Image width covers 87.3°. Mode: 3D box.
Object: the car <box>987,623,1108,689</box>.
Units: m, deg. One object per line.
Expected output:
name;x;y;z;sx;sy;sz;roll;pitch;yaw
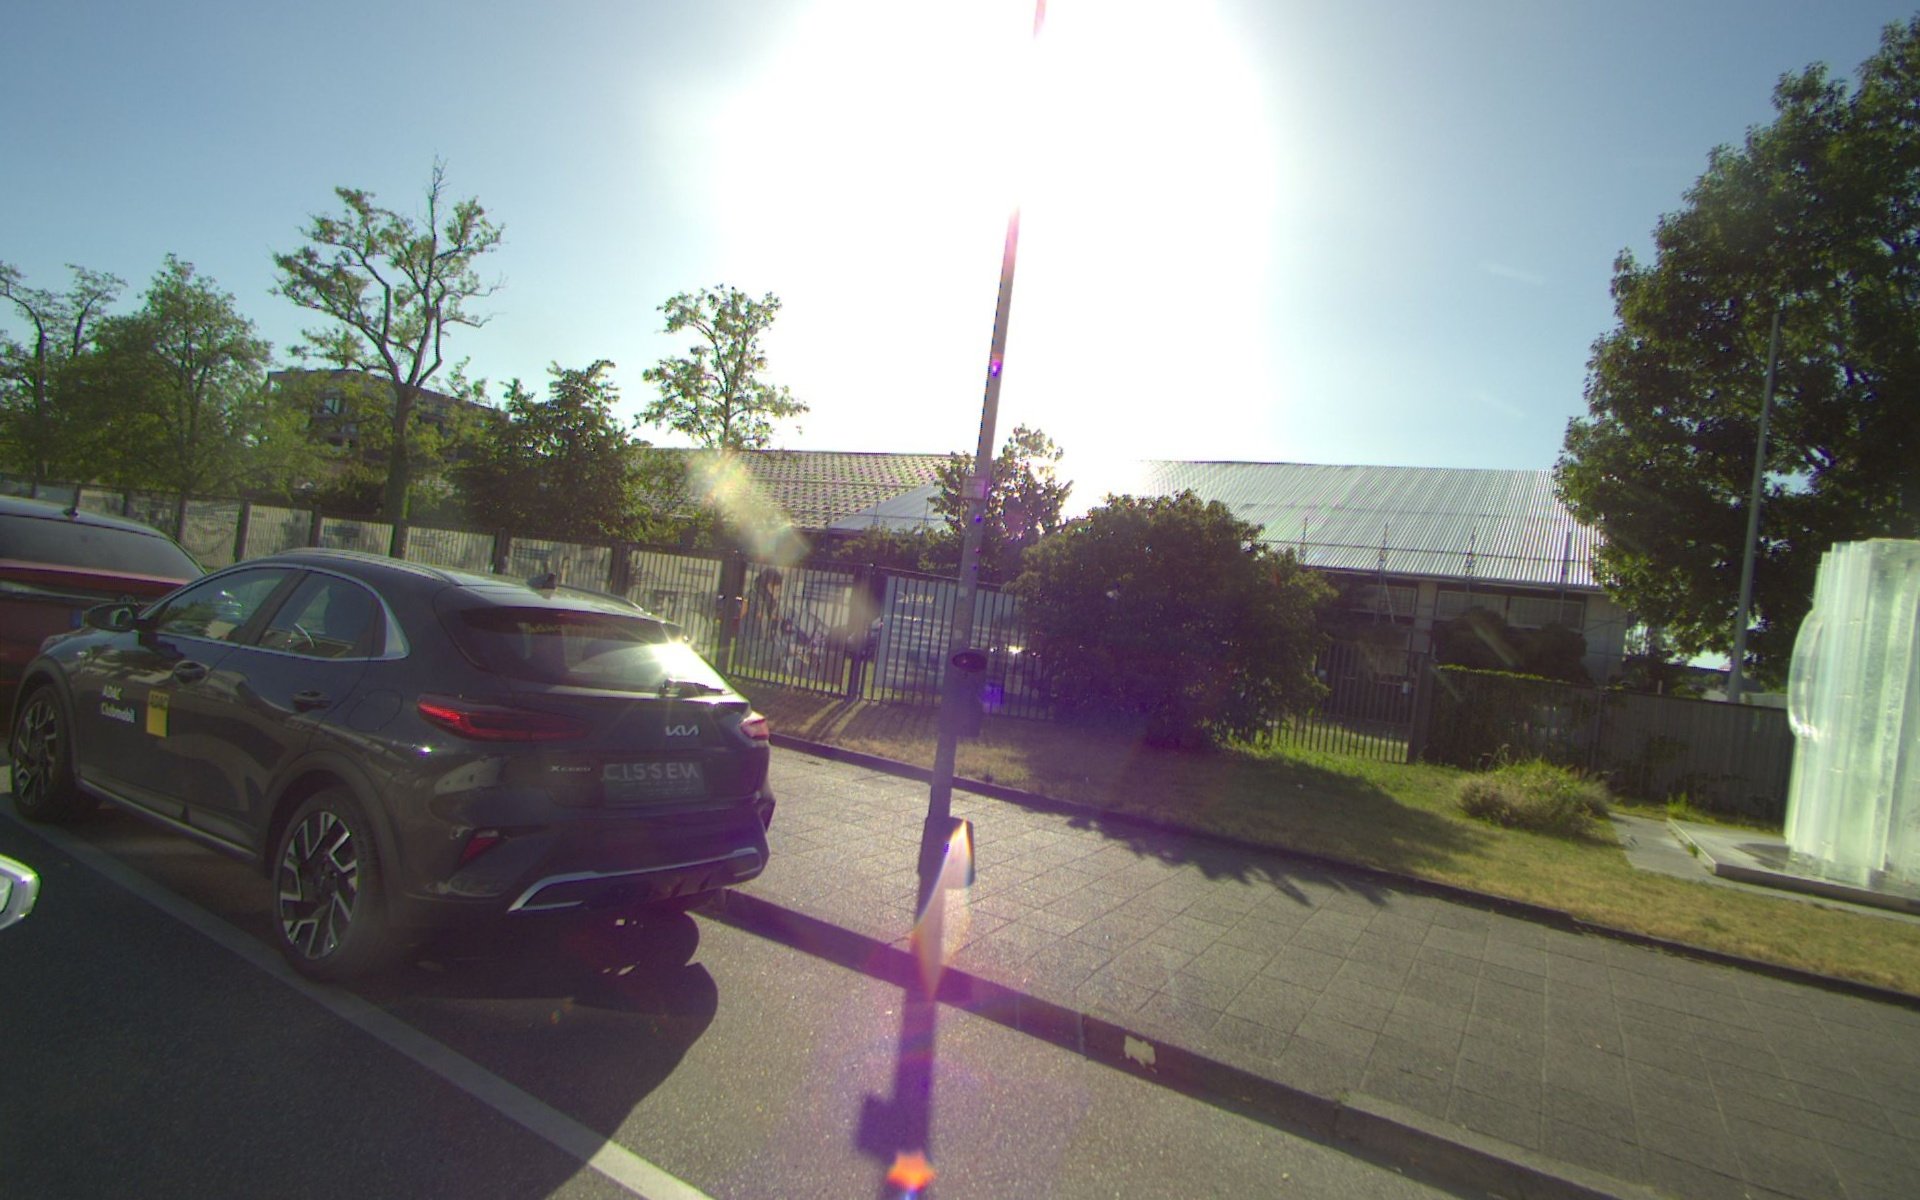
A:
car;2.387;1.524;26.415;1.646;1.396;3.898;7;-1;28

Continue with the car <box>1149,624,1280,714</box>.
car;6.141;1.649;23.835;1.964;1.688;4.642;7;-1;26

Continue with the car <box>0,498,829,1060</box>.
car;-2.884;0.530;4.847;4.144;1.504;1.705;7;-3;30

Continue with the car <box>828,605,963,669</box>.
car;-1.758;1.103;28.902;1.846;1.265;4.157;7;-3;28

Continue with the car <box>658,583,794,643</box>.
car;-7.348;0.447;31.952;1.797;1.265;4.157;7;-3;28

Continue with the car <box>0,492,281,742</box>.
car;-7.579;-0.059;7.852;4.642;1.527;1.814;7;-3;30
